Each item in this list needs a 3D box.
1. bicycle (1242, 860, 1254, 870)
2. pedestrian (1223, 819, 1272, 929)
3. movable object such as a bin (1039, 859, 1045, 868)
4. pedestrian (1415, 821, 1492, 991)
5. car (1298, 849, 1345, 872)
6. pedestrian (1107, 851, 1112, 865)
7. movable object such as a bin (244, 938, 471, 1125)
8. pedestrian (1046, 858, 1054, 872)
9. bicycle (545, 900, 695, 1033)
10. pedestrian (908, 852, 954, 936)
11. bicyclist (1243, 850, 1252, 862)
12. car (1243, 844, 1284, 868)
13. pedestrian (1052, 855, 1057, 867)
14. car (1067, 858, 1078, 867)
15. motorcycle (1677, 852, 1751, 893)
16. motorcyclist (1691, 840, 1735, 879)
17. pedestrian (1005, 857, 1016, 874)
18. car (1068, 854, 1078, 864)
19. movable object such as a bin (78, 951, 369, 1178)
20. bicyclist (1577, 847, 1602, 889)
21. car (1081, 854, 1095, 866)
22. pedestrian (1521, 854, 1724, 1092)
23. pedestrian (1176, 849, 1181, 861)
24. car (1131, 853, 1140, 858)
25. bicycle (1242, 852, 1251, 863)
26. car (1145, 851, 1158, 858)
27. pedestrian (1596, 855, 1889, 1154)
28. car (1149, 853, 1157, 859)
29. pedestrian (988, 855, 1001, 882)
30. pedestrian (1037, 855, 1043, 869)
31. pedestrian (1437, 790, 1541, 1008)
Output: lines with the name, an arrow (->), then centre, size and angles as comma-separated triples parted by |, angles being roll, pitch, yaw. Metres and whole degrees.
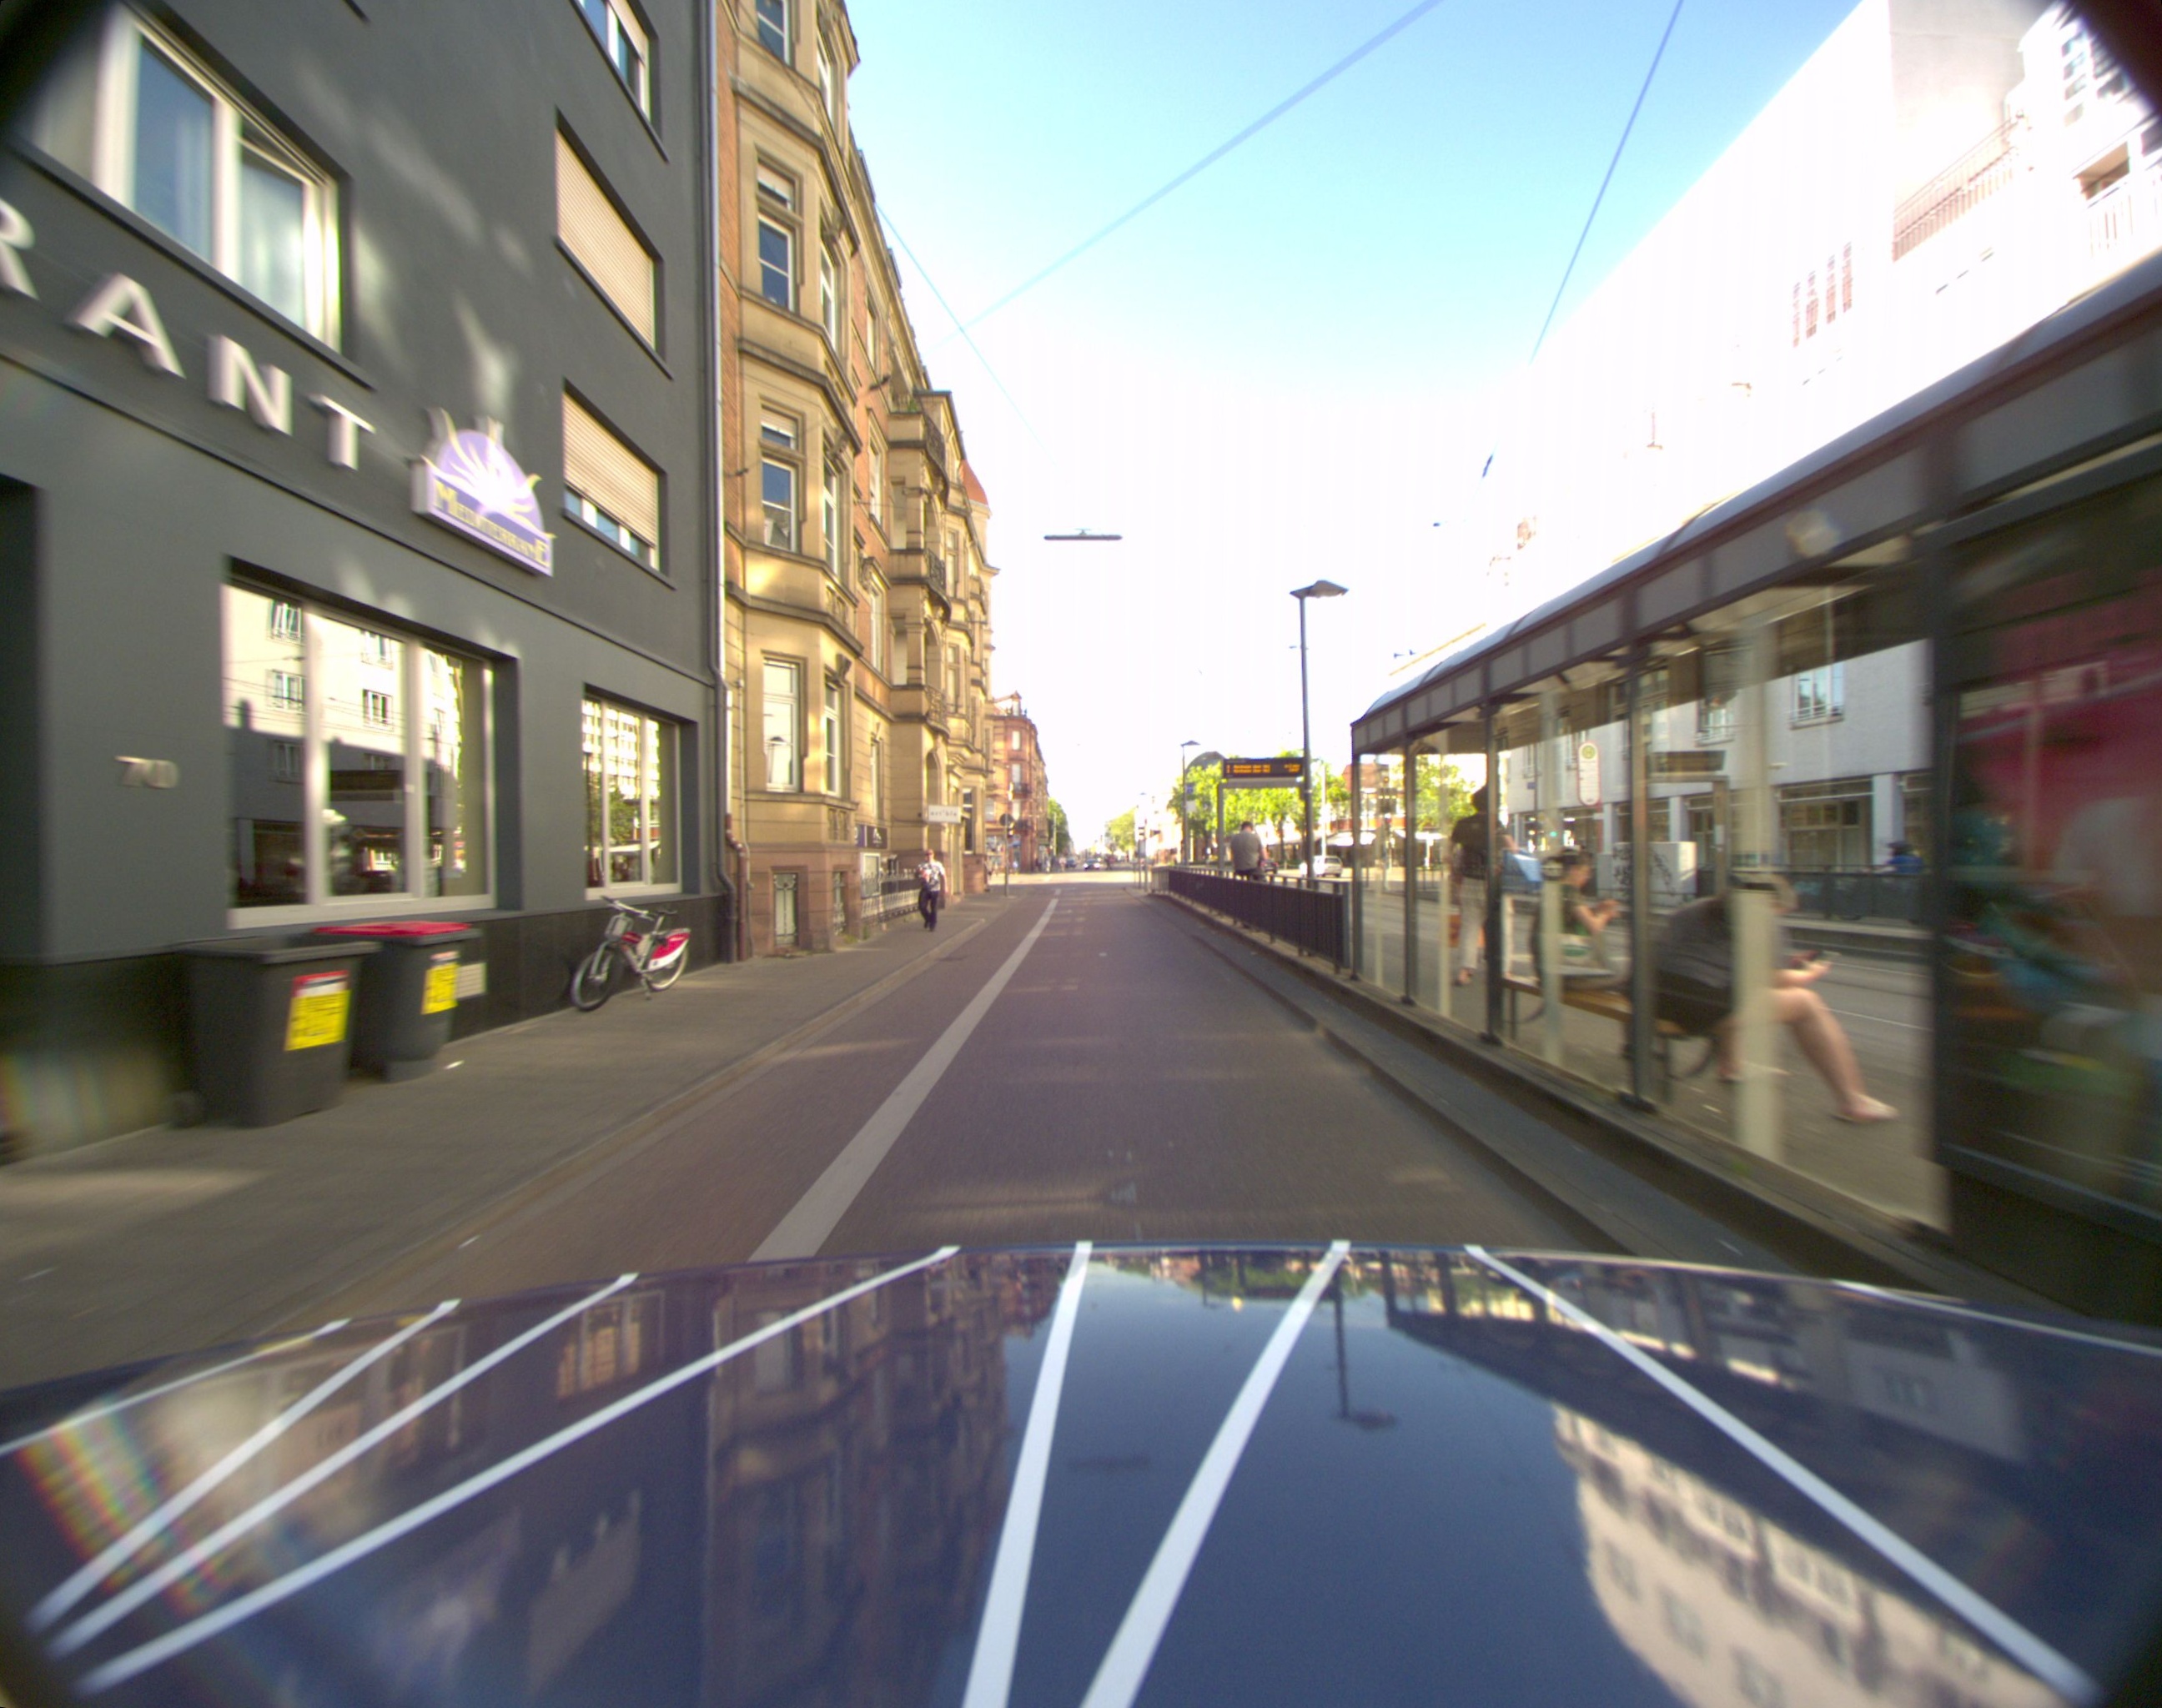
bicycle -> 17.618, 1.139, 80.368 | 0.596, 0.967, 1.852 | -1, 1, -9
pedestrian -> 2.659, 0.303, 12.229 | 0.637, 1.688, 0.933 | -2, 2, 8
movable object such as a bin -> -4.778, 1.114, 92.246 | 0.664, 1.066, 0.545 | 2, 1, 2
pedestrian -> 3.564, 0.477, 7.273 | 0.585, 1.553, 0.470 | 0, 1, 36
car -> 16.232, 0.406, 51.401 | 1.733, 1.506, 4.404 | -1, 0, -1
pedestrian -> 3.478, 0.469, 91.618 | 0.559, 1.753, 0.895 | 1, 0, 0
movable object such as a bin -> -4.733, 1.128, 5.028 | 0.750, 1.030, 0.753 | 3, 1, 1
pedestrian -> -3.652, 1.251, 89.419 | 0.684, 1.598, 0.729 | -1, 1, -31
bicycle -> -4.737, 1.098, 7.948 | 0.460, 1.116, 1.773 | 1, 0, 1
pedestrian -> -3.213, 0.852, 16.363 | 0.782, 1.739, 1.093 | -1, -1, -2
bicyclist -> 17.604, 0.188, 80.328 | 0.590, 1.278, 0.991 | -1, 1, -9
car -> 15.264, 0.127, 63.858 | 2.233, 1.900, 4.608 | -1, 0, -1
pedestrian -> -4.444, 1.132, 126.872 | 0.686, 1.901, 1.063 | -2, 2, 3
car -> -1.366, 1.408, 126.382 | 1.694, 1.442, 4.359 | -2, 0, 0
motorcycle -> 17.859, 0.503, 21.487 | 0.560, 1.068, 1.844 | -2, 1, 2
motorcyclist -> 17.821, 0.145, 21.435 | 0.560, 1.068, 0.827 | -2, 1, 1
pedestrian -> -6.823, 1.089, 73.888 | 0.924, 1.623, 0.942 | 0, 2, 5
car -> -1.348, 0.931, 136.461 | 1.694, 1.703, 4.615 | -2, 0, 0
movable object such as a bin -> -4.749, 1.127, 4.270 | 0.750, 1.030, 0.753 | 3, 1, 1
bicyclist -> 20.532, 0.555, 30.694 | 0.722, 1.686, 1.031 | 0, 1, 28
car -> 0.915, 0.777, 99.204 | 1.815, 1.415, 4.153 | -2, 0, 0
pedestrian -> 3.080, 0.638, 4.384 | 0.713, 1.265, 0.657 | 0, 0, 3
pedestrian -> 11.928, 0.132, 93.278 | 0.501, 1.509, 0.859 | 1, 0, 0
car -> 13.829, 0.384, 192.610 | 1.999, 1.443, 4.501 | -1, 0, -1
bicycle -> 18.659, 0.421, 85.517 | 0.498, 1.179, 2.235 | -1, 0, -1
car -> 13.554, 0.125, 146.299 | 1.999, 1.443, 4.649 | -1, 0, -1
pedestrian -> 3.051, 0.642, 3.588 | 0.766, 1.265, 0.719 | 0, 0, 3
car -> 18.091, 0.411, 191.184 | 1.753, 1.445, 3.471 | -1, 0, -1
pedestrian -> -5.474, 0.917, 48.354 | 0.702, 1.645, 0.632 | 0, 2, 3
pedestrian -> -4.538, 0.897, 83.508 | 0.634, 1.529, 0.941 | -1, 2, -4
pedestrian -> 3.544, 0.370, 6.600 | 0.717, 1.767, 0.566 | 0, 1, 36
